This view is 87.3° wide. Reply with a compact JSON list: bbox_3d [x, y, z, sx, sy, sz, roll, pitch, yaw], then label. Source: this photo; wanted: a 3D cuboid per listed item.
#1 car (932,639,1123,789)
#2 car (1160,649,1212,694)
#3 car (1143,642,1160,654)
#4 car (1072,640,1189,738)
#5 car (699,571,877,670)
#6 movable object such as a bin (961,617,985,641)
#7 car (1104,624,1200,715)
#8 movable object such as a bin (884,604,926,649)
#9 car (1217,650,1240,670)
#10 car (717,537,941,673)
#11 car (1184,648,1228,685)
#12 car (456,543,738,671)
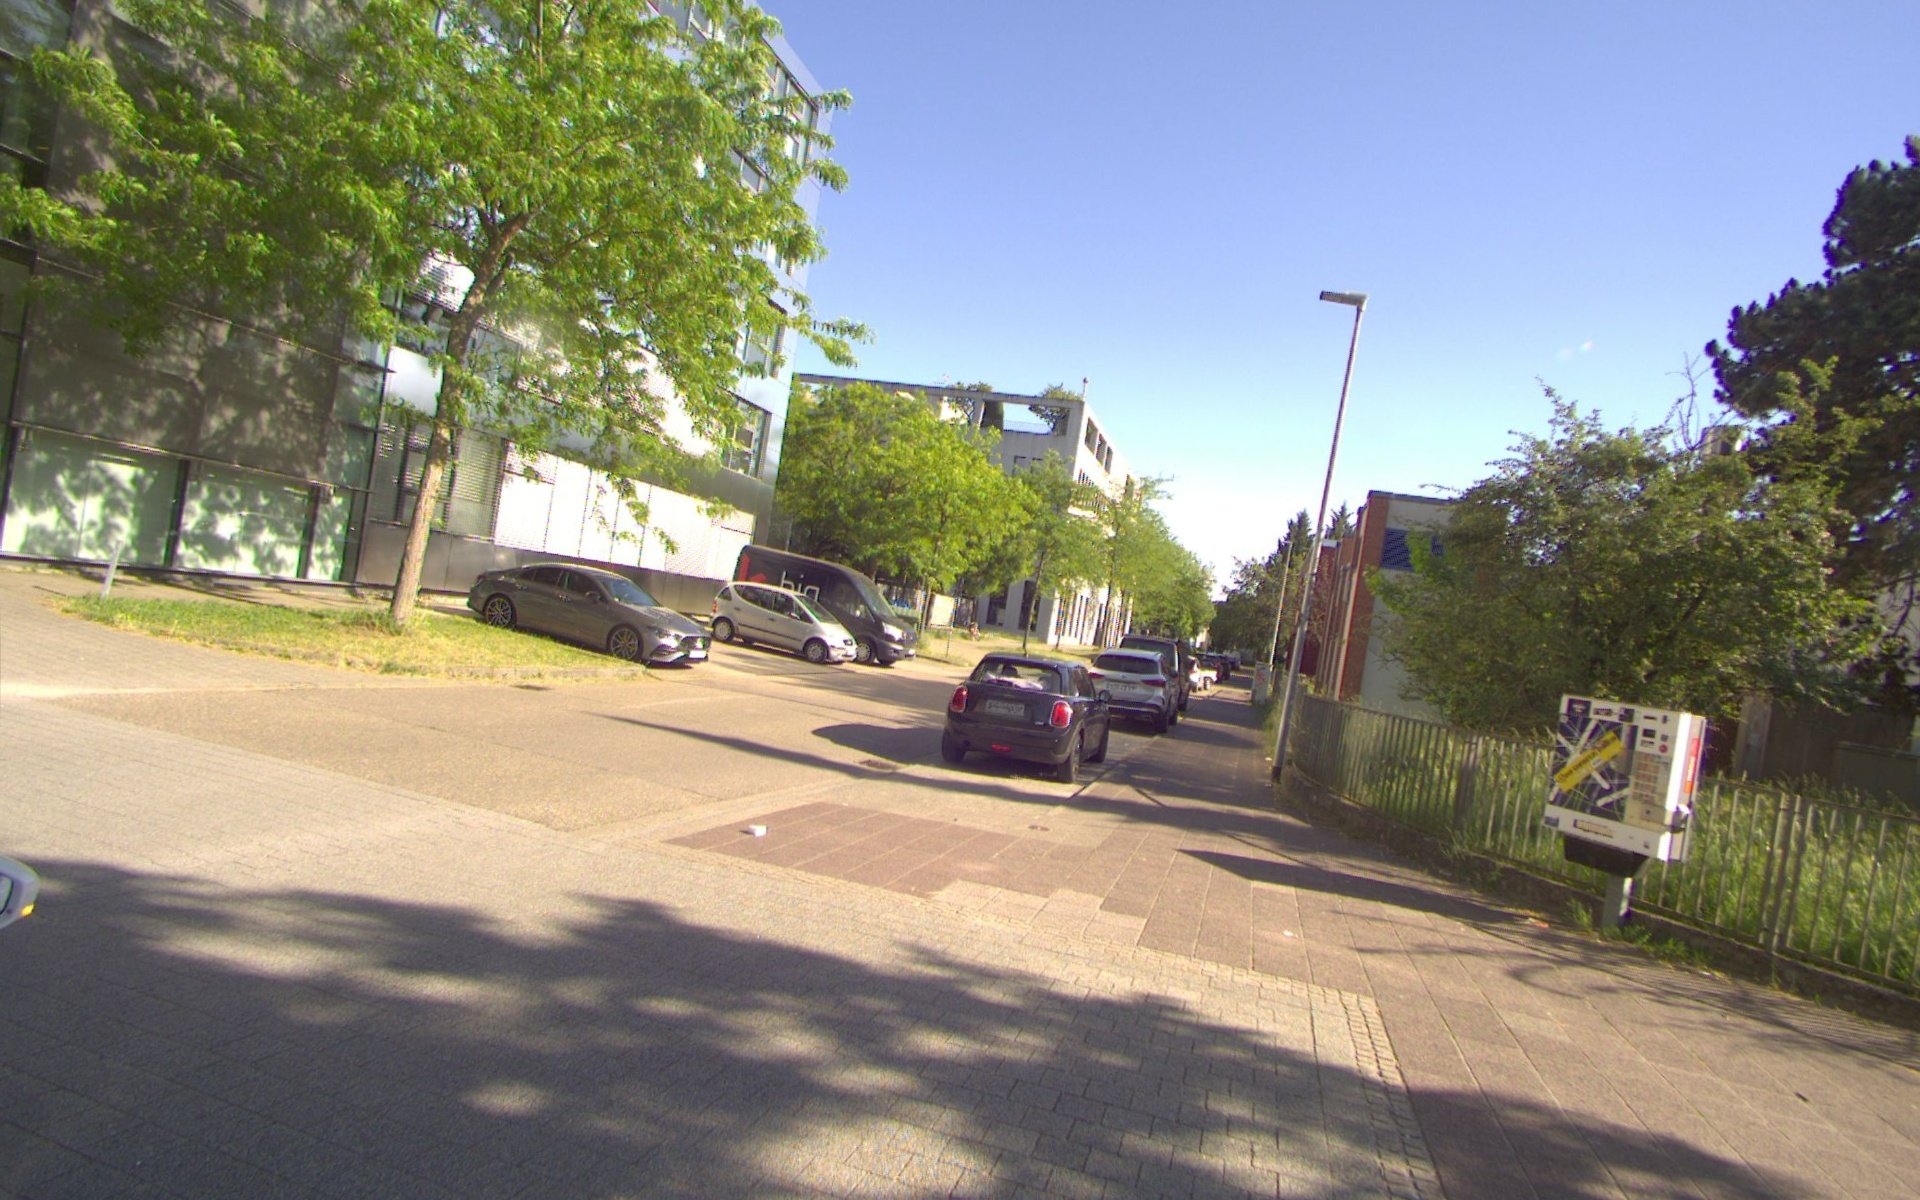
[{"bbox_3d":[1.048,1.422,13.435,1.626,1.489,3.767,8,-1,16],"label":"car"},{"bbox_3d":[9.667,3.016,42.819,1.634,1.580,3.936,9,0,18],"label":"car"},{"bbox_3d":[27.240,6.836,143.067,1.962,1.475,3.796,9,0,14],"label":"car"},{"bbox_3d":[3.777,1.857,21.670,1.797,1.648,4.297,8,-1,17],"label":"car"},{"bbox_3d":[-4.314,0.531,25.433,3.773,1.664,1.894,12,0,17],"label":"car"},{"bbox_3d":[0.727,1.657,56.798,0.652,1.196,1.936,9,0,17],"label":"movable object such as a bin"},{"bbox_3d":[5.452,1.929,28.024,1.913,2.045,4.829,8,-1,17],"label":"car"},{"bbox_3d":[-2.023,0.971,37.167,1.274,1.430,1.227,9,0,0],"label":"movable object such as a bin"},{"bbox_3d":[28.040,6.216,104.844,1.962,1.856,4.002,6,-1,18],"label":"car"},{"bbox_3d":[-3.601,0.148,27.899,5.371,2.653,2.233,11,1,17],"label":"car"},{"bbox_3d":[13.561,3.622,55.313,1.809,1.653,4.203,9,0,18],"label":"car"},{"bbox_3d":[-6.582,0.146,18.343,4.465,1.366,1.894,12,0,17],"label":"car"}]
